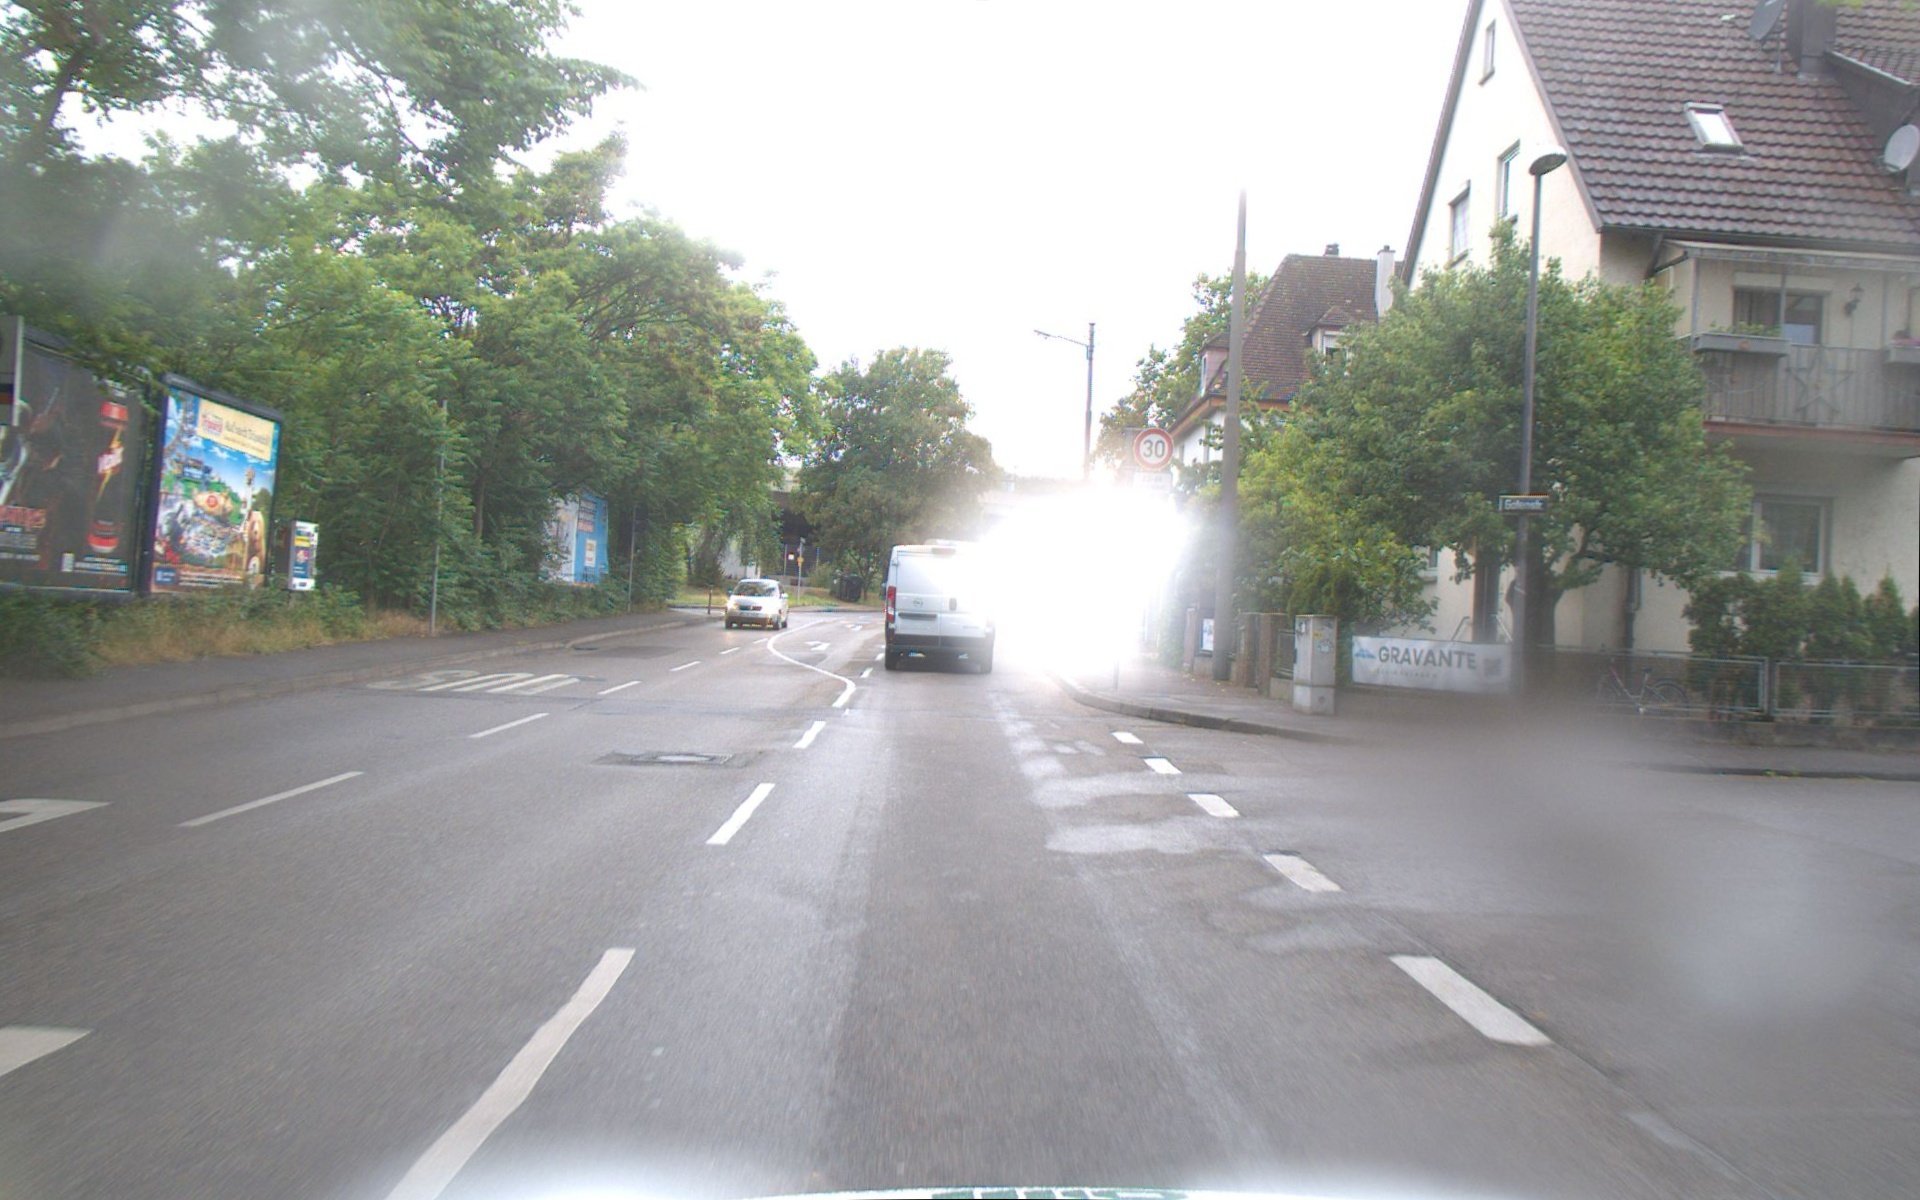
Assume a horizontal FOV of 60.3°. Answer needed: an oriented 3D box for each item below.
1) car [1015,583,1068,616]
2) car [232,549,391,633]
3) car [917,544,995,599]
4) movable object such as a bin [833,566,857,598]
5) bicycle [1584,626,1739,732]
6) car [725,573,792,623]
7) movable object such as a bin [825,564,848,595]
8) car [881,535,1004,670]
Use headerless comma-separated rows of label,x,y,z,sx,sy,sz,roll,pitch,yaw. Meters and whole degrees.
car,4.162,-0.024,83.958,1.729,1.537,3.756,3,1,18
car,-13.208,-0.189,33.947,1.668,1.520,3.999,4,0,-1
car,-0.172,-1.700,101.190,2.481,3.070,7.213,3,1,18
movable object such as a bin,-6.184,-0.956,89.155,0.921,1.590,1.131,8,1,3
bicycle,7.923,0.890,18.710,1.538,1.134,0.457,1,1,3
car,-6.071,-0.079,50.141,1.620,1.441,3.935,0,1,-1
movable object such as a bin,-6.771,-1.110,90.502,0.921,1.590,1.131,8,1,3
car,-0.392,0.043,31.869,2.103,2.323,5.061,2,0,-2
